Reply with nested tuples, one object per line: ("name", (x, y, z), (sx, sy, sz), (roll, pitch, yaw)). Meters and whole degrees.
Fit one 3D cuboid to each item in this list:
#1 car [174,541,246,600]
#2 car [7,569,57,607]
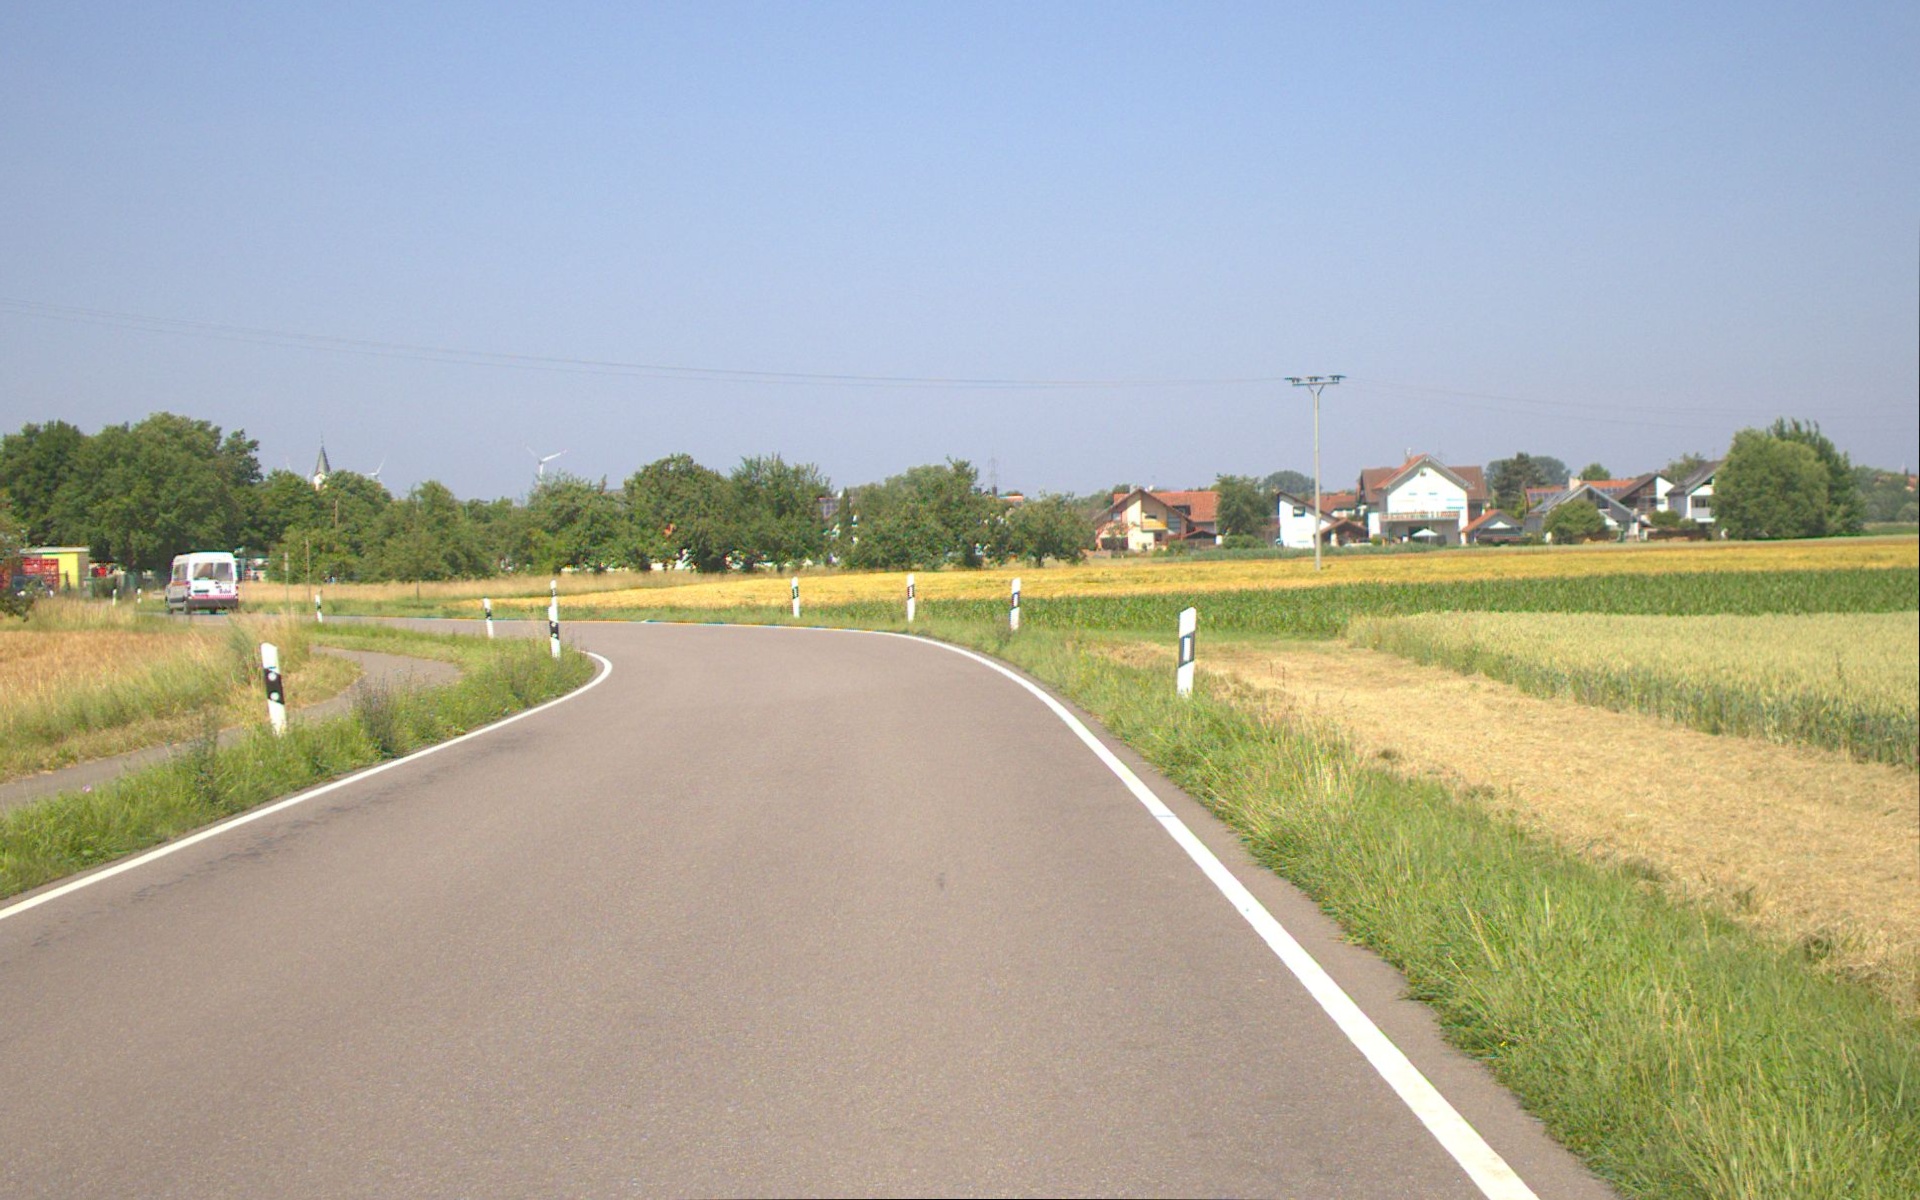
("car", (-30.171, -1.191, 138.181), (1.993, 2.258, 4.727), (-2, 1, -22))
("car", (-45.151, -0.582, 167.142), (1.886, 1.709, 4.015), (-3, 1, -21))
